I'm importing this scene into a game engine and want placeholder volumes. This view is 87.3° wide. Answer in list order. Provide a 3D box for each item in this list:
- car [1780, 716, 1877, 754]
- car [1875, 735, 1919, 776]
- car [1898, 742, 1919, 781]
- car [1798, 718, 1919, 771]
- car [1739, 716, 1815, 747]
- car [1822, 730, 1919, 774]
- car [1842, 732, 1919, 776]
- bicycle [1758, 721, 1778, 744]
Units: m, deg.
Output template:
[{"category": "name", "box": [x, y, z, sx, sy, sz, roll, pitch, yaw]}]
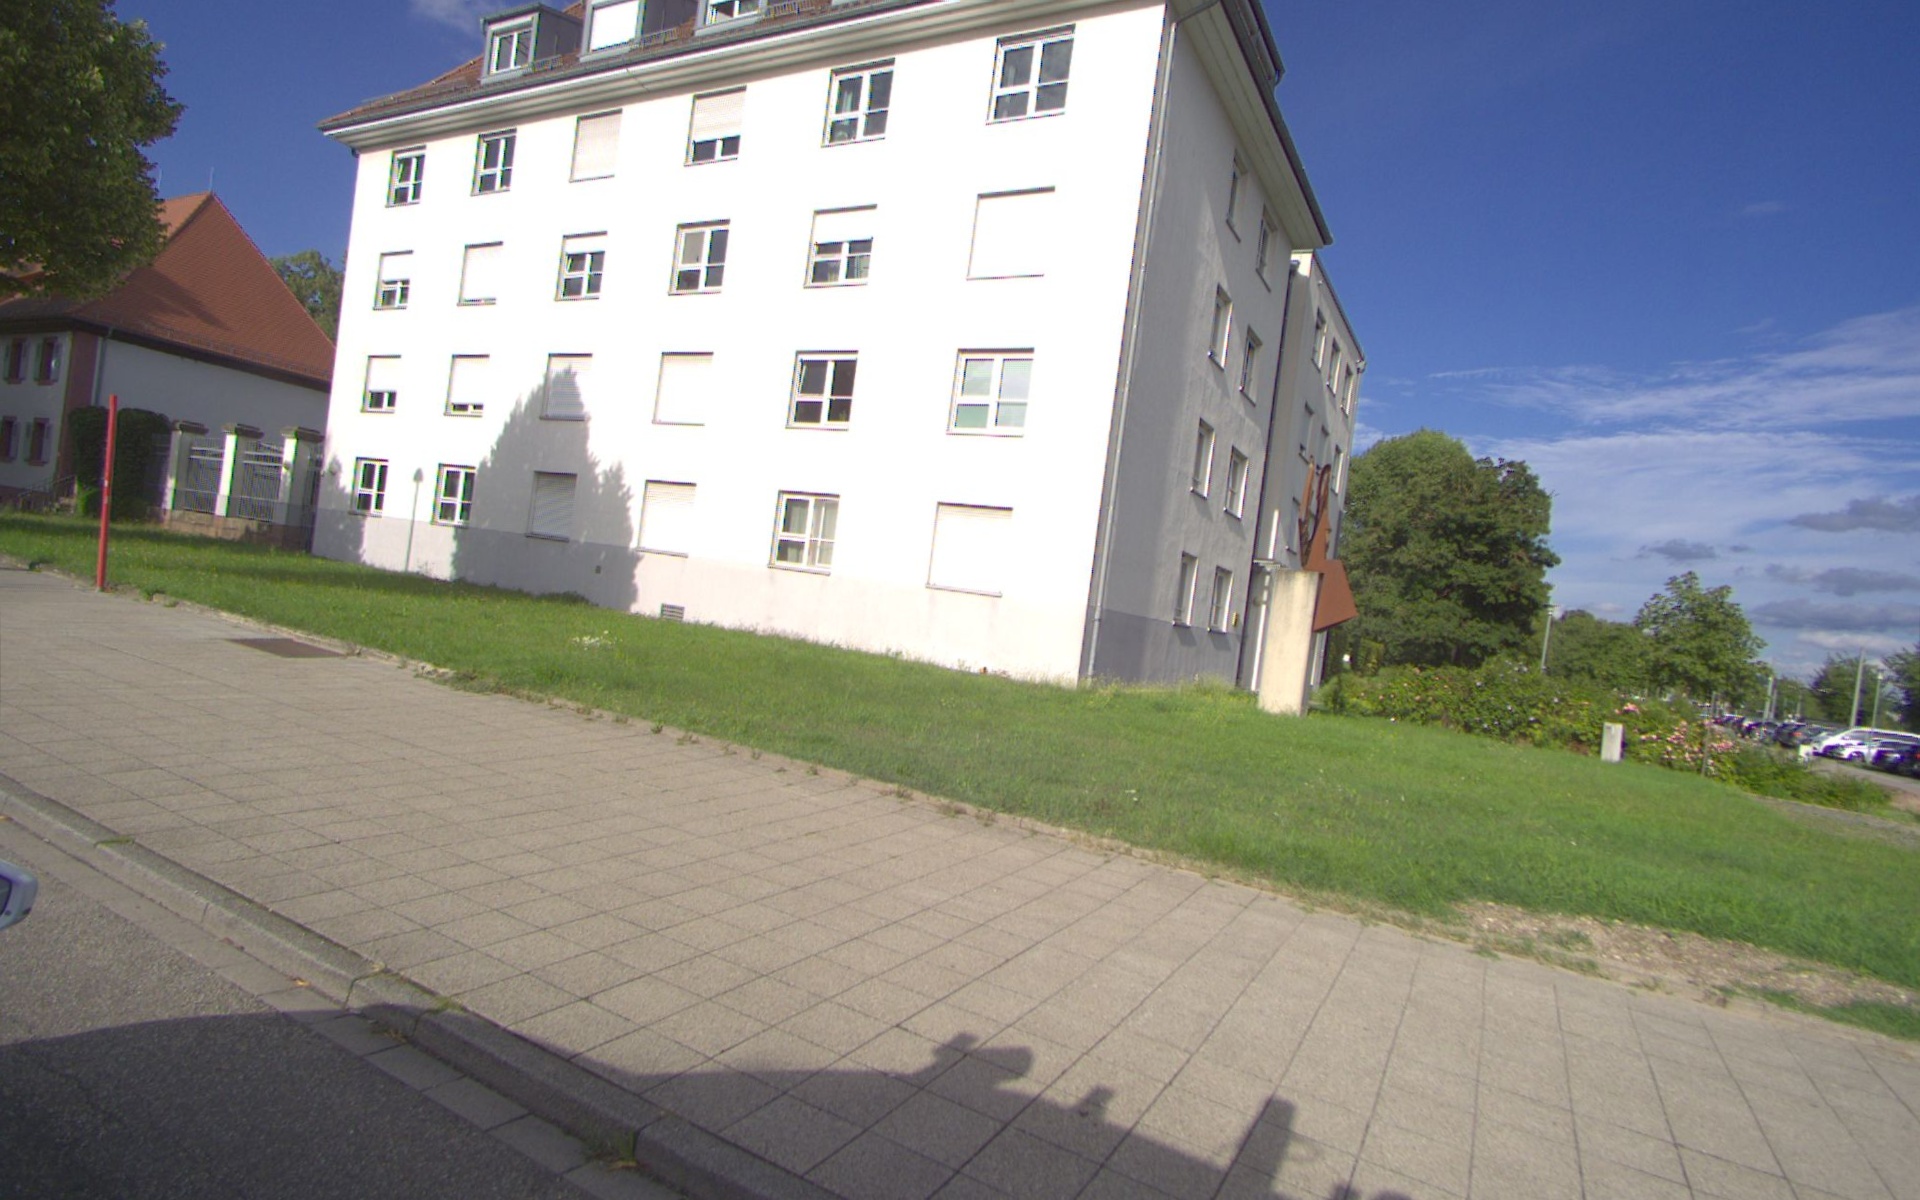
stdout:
[{"category": "car", "box": [52.940, 8.211, 61.422, 3.929, 1.590, 1.998, 7, 0, 26]}, {"category": "car", "box": [43.867, 7.187, 44.913, 3.929, 1.590, 1.998, 7, 0, 26]}, {"category": "car", "box": [42.079, 7.033, 41.934, 3.930, 1.542, 1.715, 7, -1, 28]}, {"category": "car", "box": [50.958, 8.122, 56.596, 5.334, 2.074, 1.998, 7, 0, 26]}, {"category": "car", "box": [61.653, 9.937, 75.985, 3.929, 1.590, 1.998, 7, 0, 26]}, {"category": "car", "box": [49.011, 8.145, 53.779, 3.929, 1.590, 1.998, 7, 0, 26]}, {"category": "car", "box": [44.885, 7.447, 47.792, 3.929, 1.590, 1.998, 7, 0, 26]}, {"category": "bicycle", "box": [46.734, 7.652, 58.196, 0.628, 1.178, 1.756, 7, -1, 34]}]
